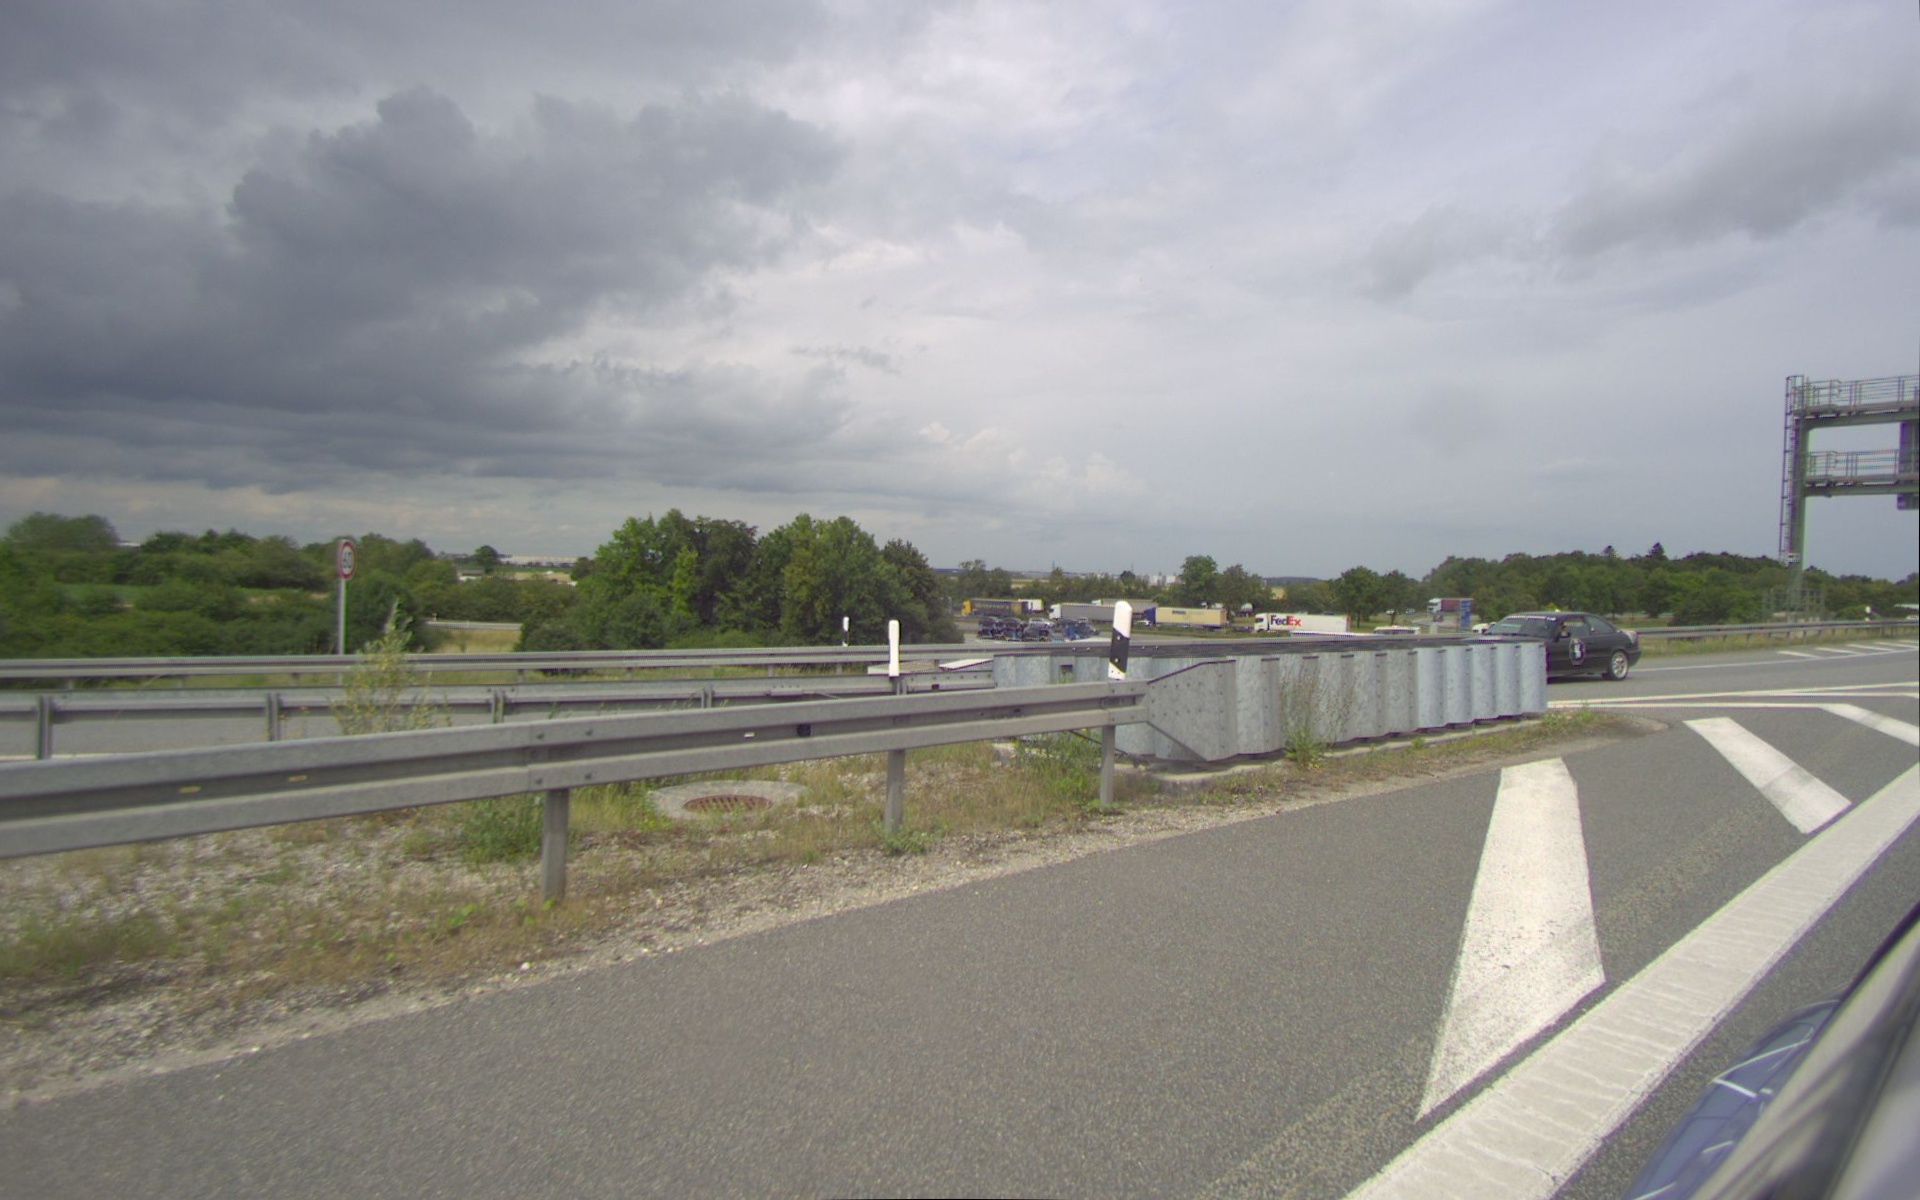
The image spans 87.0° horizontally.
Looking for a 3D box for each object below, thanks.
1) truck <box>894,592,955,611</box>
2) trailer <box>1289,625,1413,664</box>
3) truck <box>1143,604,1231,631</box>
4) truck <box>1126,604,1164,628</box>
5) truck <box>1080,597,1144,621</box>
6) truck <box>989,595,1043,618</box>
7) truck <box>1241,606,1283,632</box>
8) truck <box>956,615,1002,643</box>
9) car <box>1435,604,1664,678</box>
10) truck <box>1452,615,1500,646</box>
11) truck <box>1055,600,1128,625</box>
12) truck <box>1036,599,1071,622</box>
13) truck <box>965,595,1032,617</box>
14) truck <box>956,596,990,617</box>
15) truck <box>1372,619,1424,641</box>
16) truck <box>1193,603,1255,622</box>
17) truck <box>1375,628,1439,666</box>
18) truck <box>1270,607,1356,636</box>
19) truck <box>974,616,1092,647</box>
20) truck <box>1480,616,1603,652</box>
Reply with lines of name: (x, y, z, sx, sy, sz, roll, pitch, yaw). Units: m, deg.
truck: (-8.137, 0.312, 230.770, 14.815, 4.083, 4.086, 1, 0, 38)
trailer: (48.514, 5.445, 126.079, 14.173, 4.151, 2.949, 2, 0, 38)
truck: (43.123, 3.289, 192.619, 16.280, 4.612, 3.952, 1, 0, 38)
truck: (36.211, 3.041, 198.080, 6.260, 4.568, 3.878, 1, 0, 38)
truck: (36.209, 2.136, 242.126, 14.573, 5.281, 3.861, 1, -1, 0)
truck: (13.533, 1.618, 244.756, 12.789, 5.105, 3.940, 1, -1, 10)
truck: (54.637, 3.432, 183.126, 6.260, 4.568, 3.878, 1, 0, 38)
truck: (3.063, 4.615, 161.898, 6.378, 4.041, 3.814, 1, 1, 35)
car: (11.468, 0.782, 19.659, 4.275, 1.297, 1.712, 1, 0, -25)
truck: (82.594, 4.872, 162.088, 6.259, 4.733, 3.879, 1, 0, 38)
truck: (26.580, 2.421, 205.063, 14.811, 4.612, 3.951, 1, 0, 39)
truck: (19.514, 2.231, 210.804, 6.261, 4.568, 3.877, 1, 0, 39)
truck: (8.121, 1.258, 218.942, 15.234, 4.612, 3.950, 1, 0, 40)
truck: (2.880, 1.392, 223.454, 6.468, 4.555, 4.013, 1, 0, 40)
truck: (71.155, 4.823, 164.431, 7.528, 3.237, 2.201, 1, -1, 39)
truck: (63.801, 2.984, 244.983, 14.428, 4.141, 3.091, 1, -1, -10)
truck: (53.811, 5.574, 121.910, 6.494, 4.151, 2.949, 1, 0, 38)
truck: (61.821, 3.687, 177.555, 13.716, 4.612, 3.953, 1, 0, 38)
truck: (11.055, 4.756, 156.118, 18.927, 4.111, 3.943, 1, 0, 36)
truck: (89.624, 5.158, 156.367, 16.096, 4.759, 3.937, 1, 0, 39)
